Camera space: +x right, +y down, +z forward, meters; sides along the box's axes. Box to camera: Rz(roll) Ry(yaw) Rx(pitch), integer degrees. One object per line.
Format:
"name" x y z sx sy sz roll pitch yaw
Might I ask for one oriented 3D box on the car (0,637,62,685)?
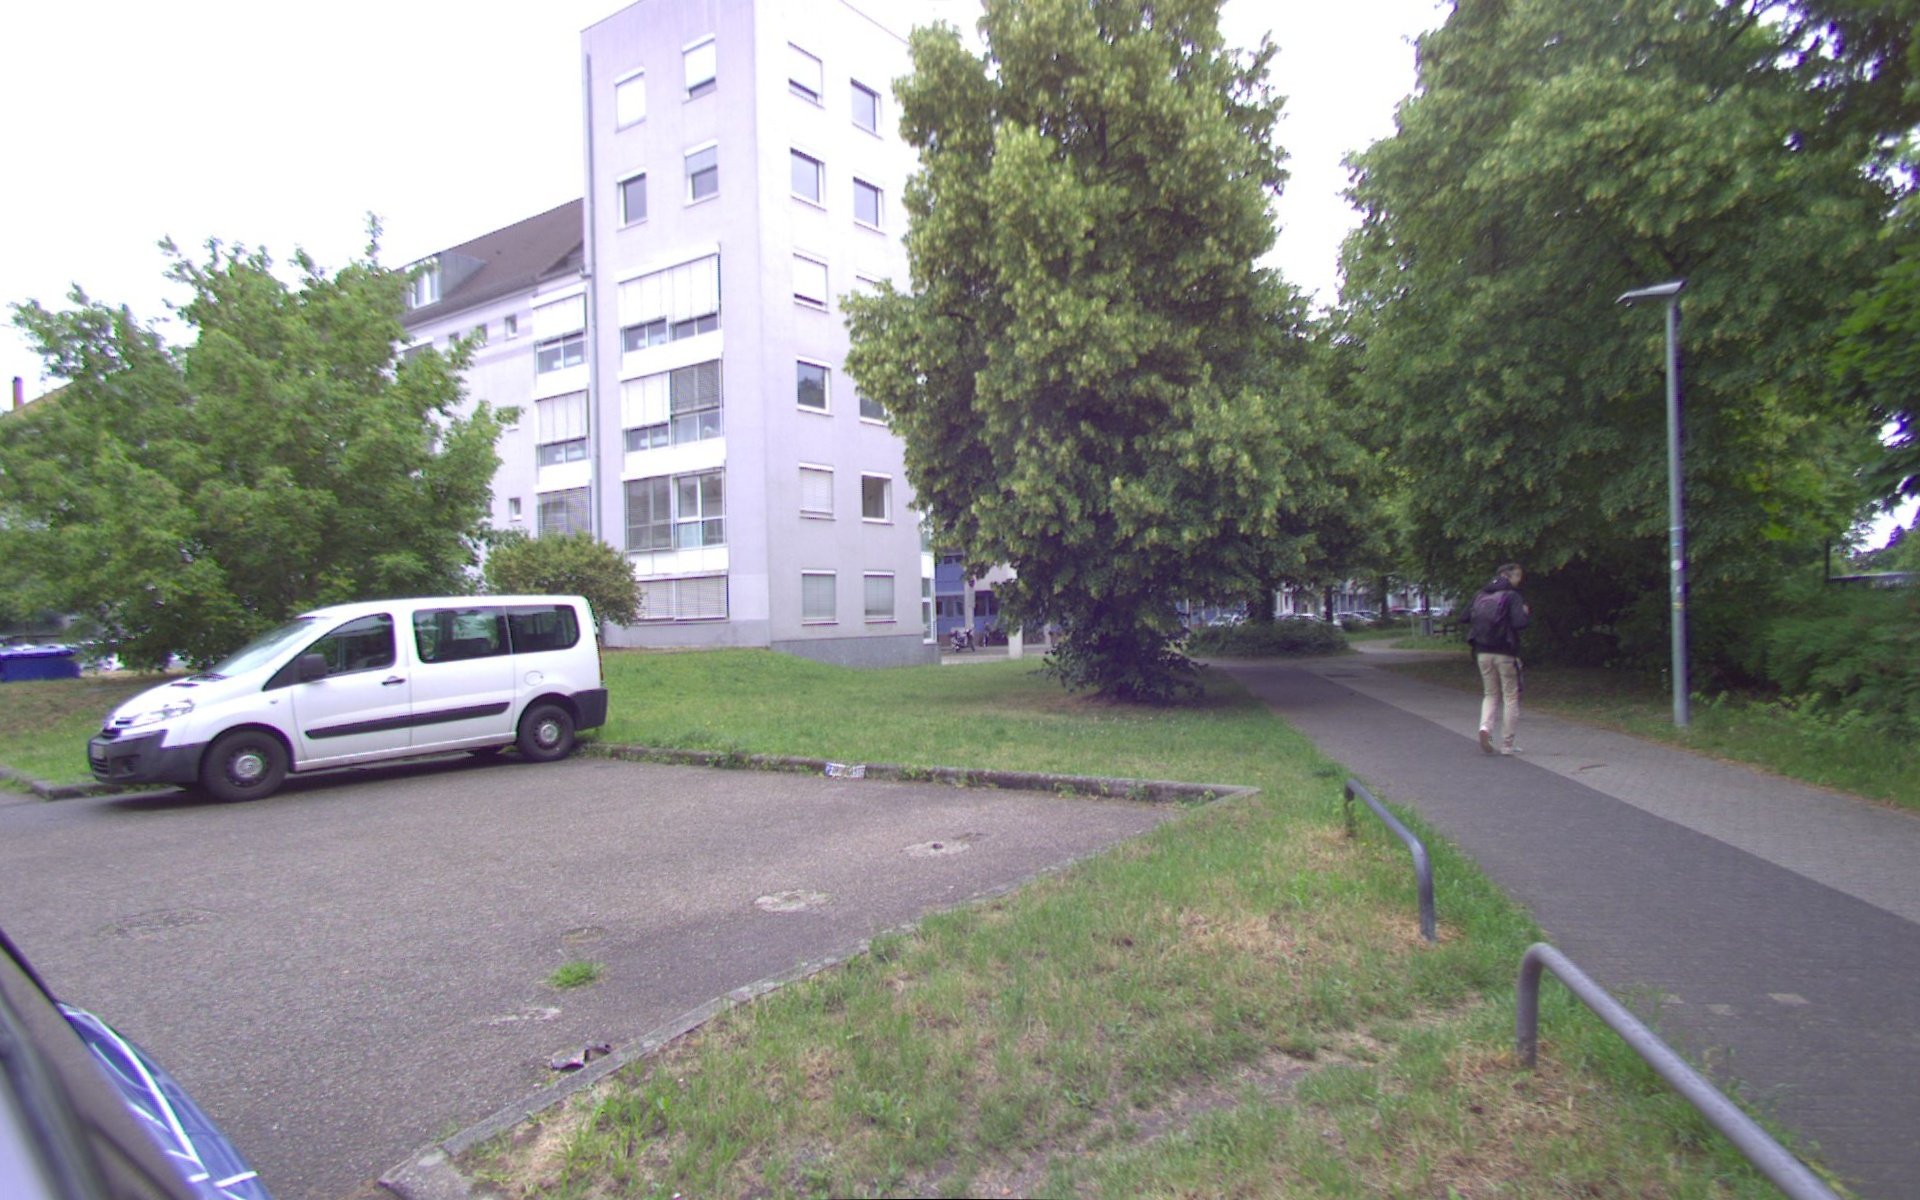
"car" -36.546 2.310 37.684 1.994 1.748 4.294 -2 -1 32

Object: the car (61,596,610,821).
"car" -6.483 0.973 11.019 1.900 1.887 4.710 -5 -3 39

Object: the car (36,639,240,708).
"car" -24.233 2.120 29.991 1.994 1.748 4.294 -2 -1 32

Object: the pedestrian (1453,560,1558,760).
"pedestrian" 5.048 0.533 9.366 0.681 1.762 0.612 -2 -2 42

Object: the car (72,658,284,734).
"car" -21.767 2.599 28.350 1.994 1.748 4.294 -2 -1 32

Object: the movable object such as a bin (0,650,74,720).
"movable object such as a bin" -18.850 1.698 20.480 1.226 1.317 1.166 -3 -2 37

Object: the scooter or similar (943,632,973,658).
"scooter or similar" -0.089 2.246 51.027 0.789 1.197 2.504 -2 -1 16

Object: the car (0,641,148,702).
"car" -29.252 2.274 32.696 1.994 1.748 4.294 -2 -1 32

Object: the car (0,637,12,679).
"car" -41.310 2.426 40.704 1.994 1.748 4.294 -2 -1 32
